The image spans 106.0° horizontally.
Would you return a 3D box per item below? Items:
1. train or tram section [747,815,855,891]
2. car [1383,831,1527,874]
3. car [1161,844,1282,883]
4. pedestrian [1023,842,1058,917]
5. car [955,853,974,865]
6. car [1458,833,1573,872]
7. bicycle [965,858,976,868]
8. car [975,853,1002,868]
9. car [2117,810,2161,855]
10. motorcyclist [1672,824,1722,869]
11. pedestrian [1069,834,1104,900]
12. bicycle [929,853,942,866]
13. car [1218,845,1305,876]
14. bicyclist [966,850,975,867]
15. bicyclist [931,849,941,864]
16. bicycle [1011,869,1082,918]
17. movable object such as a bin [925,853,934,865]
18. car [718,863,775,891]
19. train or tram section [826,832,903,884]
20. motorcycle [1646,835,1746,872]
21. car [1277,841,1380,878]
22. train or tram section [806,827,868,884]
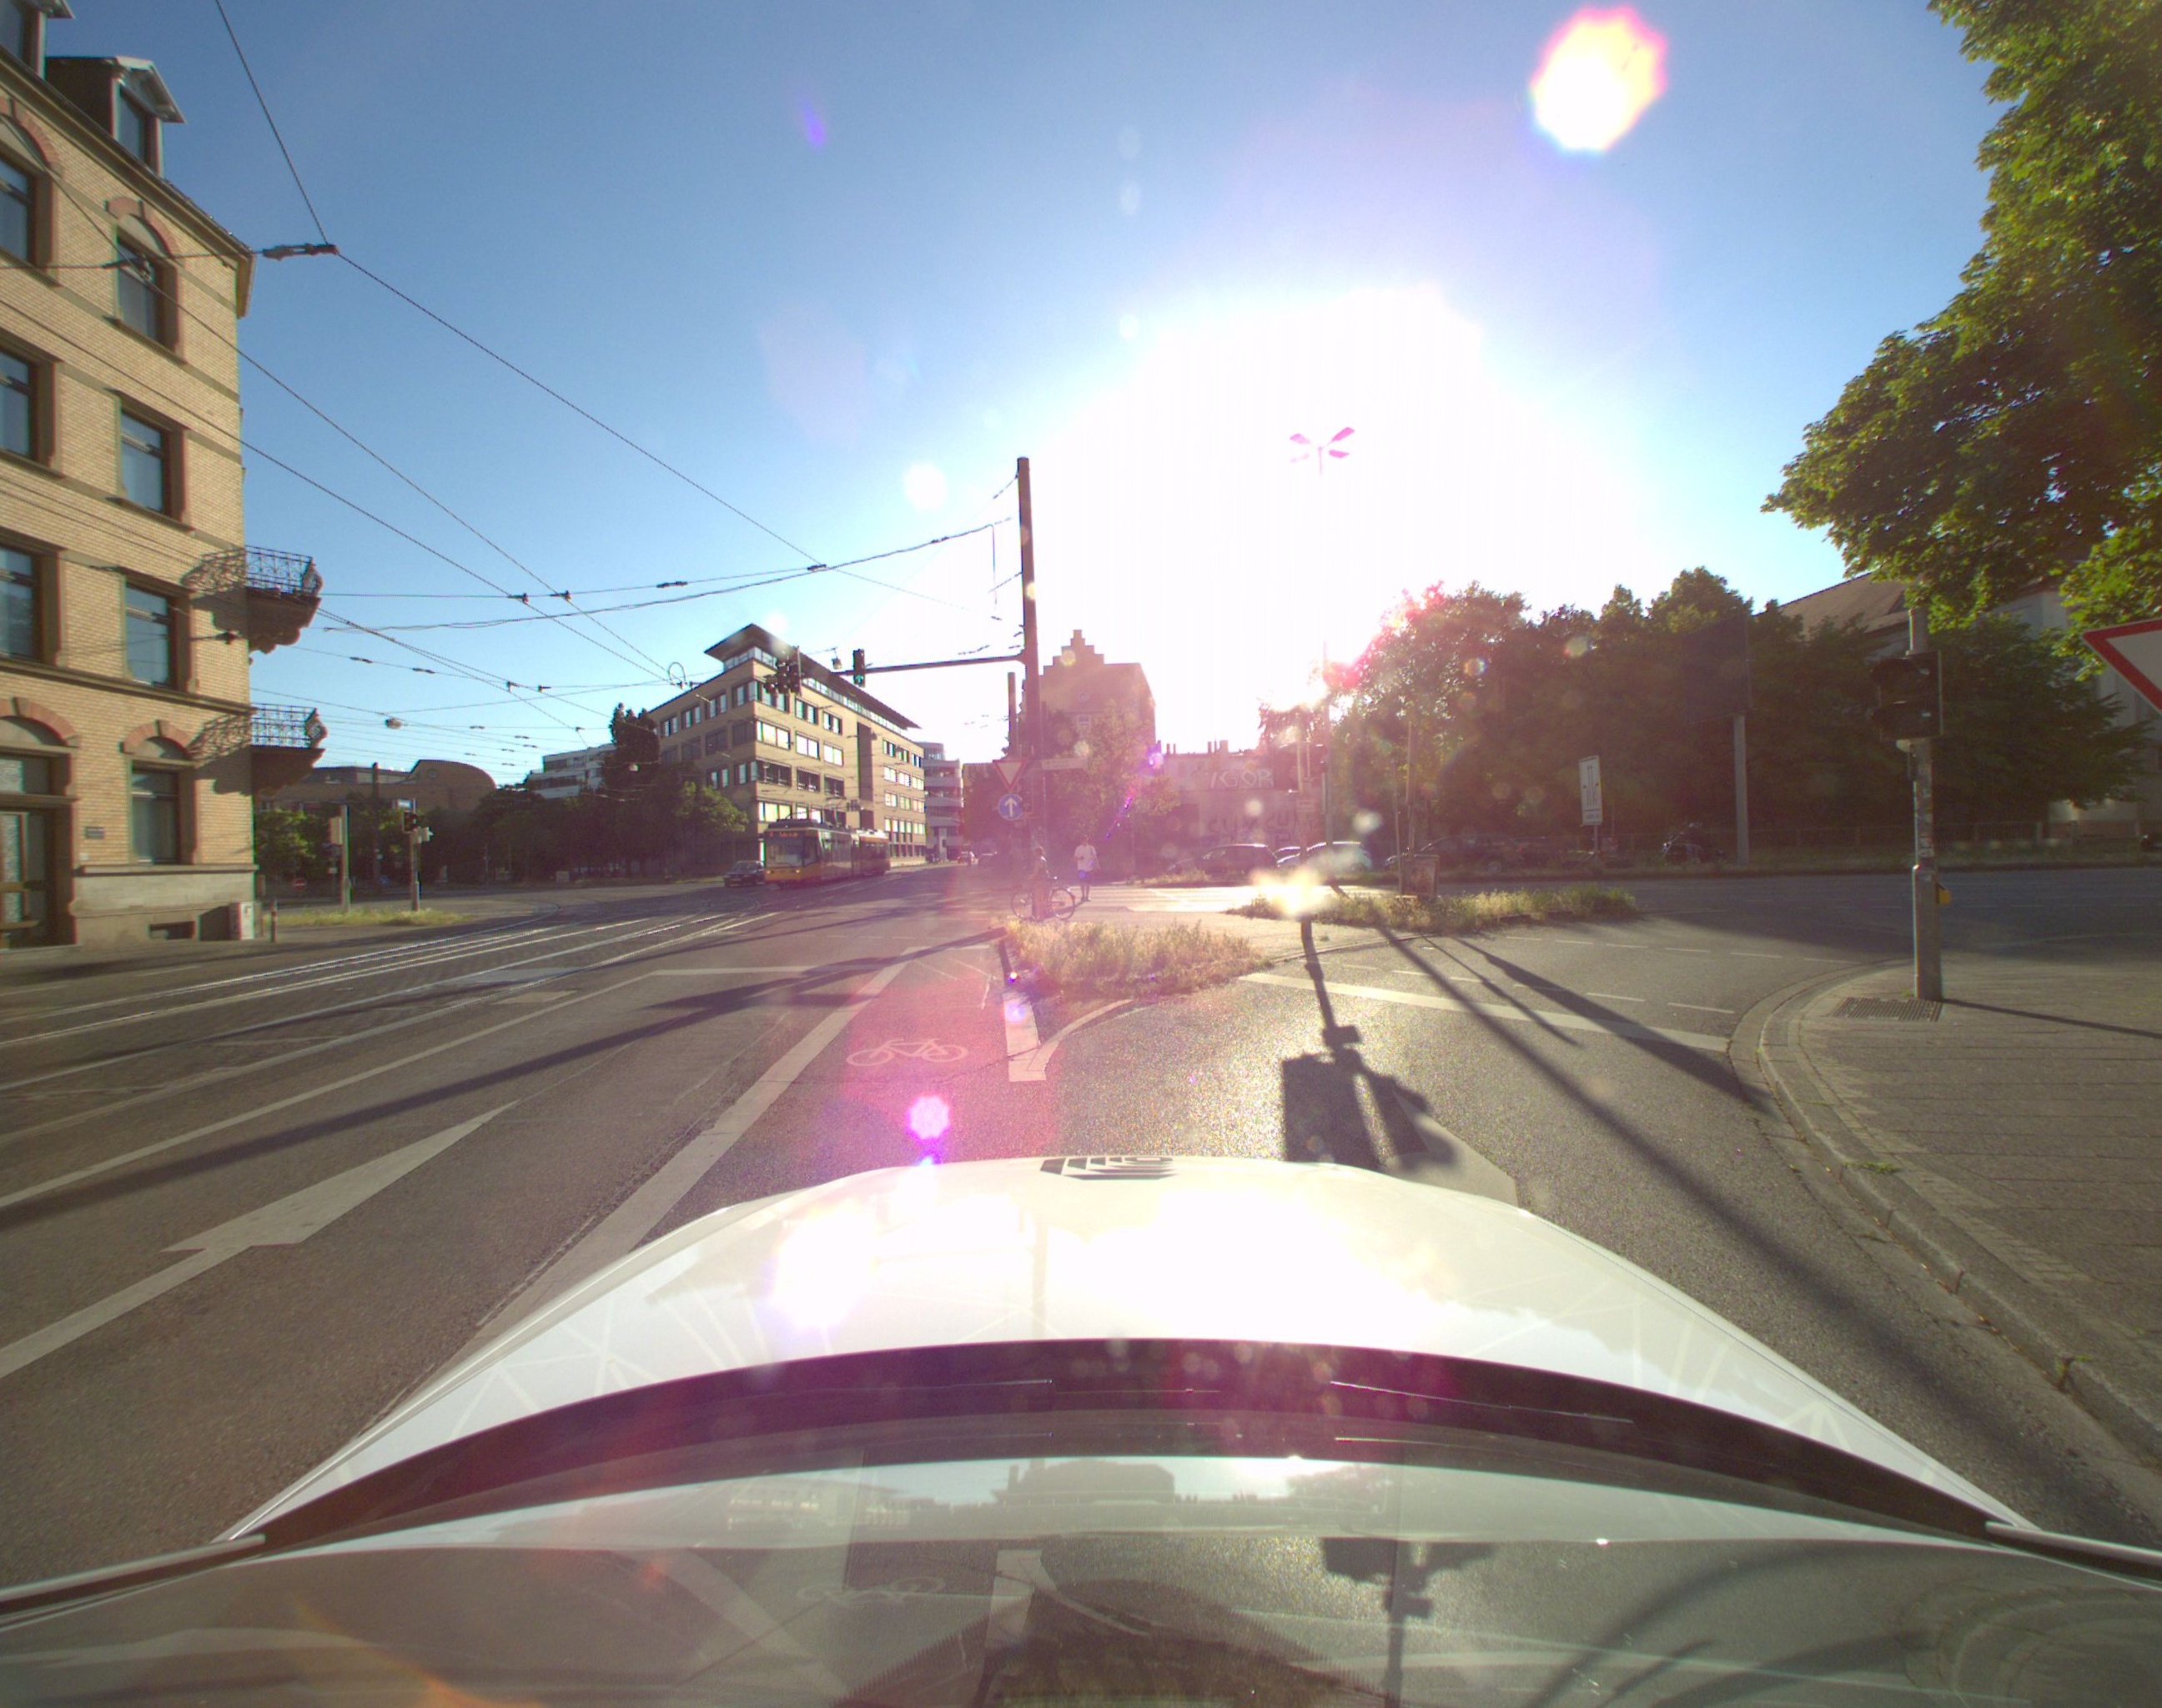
[{"bbox_3d":[-15.020,-0.058,45.020,2.858,3.507,12.983,-2,0,-7],"label":"train or tram section"},{"bbox_3d":[12.788,-0.048,28.131,4.328,1.296,1.732,-2,0,17],"label":"car"},{"bbox_3d":[5.297,0.349,30.690,4.200,1.296,1.733,-2,0,19],"label":"car"},{"bbox_3d":[-0.899,0.555,17.953,0.518,1.631,0.492,-2,0,36],"label":"pedestrian"},{"bbox_3d":[-16.895,0.648,118.583,1.808,1.614,4.469,-2,0,3],"label":"car"},{"bbox_3d":[18.536,-0.080,34.922,3.961,1.464,1.865,-2,1,10],"label":"car"},{"bbox_3d":[-9.964,0.813,73.640,0.692,0.877,2.026,-2,0,0],"label":"bicycle"},{"bbox_3d":[-9.179,0.613,81.276,1.776,1.388,4.006,-2,0,6],"label":"car"},{"bbox_3d":[38.555,-0.825,26.949,5.240,1.496,2.006,-2,0,11],"label":"car"},{"bbox_3d":[20.051,-0.236,26.527,1.049,1.398,0.858,-2,0,17],"label":"motorcyclist"},{"bbox_3d":[0.162,0.358,22.856,0.905,1.789,0.828,-2,0,1],"label":"pedestrian"},{"bbox_3d":[-20.055,0.747,112.630,1.025,1.651,2.564,-2,0,6],"label":"bicycle"},{"bbox_3d":[8.453,0.297,38.026,3.853,1.296,1.731,-2,0,15],"label":"car"},{"bbox_3d":[-9.977,0.387,73.668,0.671,1.522,0.813,-2,0,0],"label":"bicyclist"},{"bbox_3d":[-20.045,0.398,112.497,1.025,2.014,1.249,0,-1,5],"label":"bicyclist"},{"bbox_3d":[-0.771,0.859,18.014,1.650,1.029,0.402,-2,0,36],"label":"bicycle"},{"bbox_3d":[-21.647,0.665,116.173,1.062,1.628,0.889,-2,0,2],"label":"movable object such as a bin"},{"bbox_3d":[-18.564,1.225,45.385,1.807,1.380,4.154,-2,0,-6],"label":"car"},{"bbox_3d":[-16.335,0.228,62.440,2.852,3.507,11.293,-2,0,-1],"label":"train or tram section"},{"bbox_3d":[20.008,-0.008,26.559,2.442,1.107,0.865,-2,0,17],"label":"motorcycle"},{"bbox_3d":[9.992,0.206,33.035,3.853,1.319,1.731,-2,0,15],"label":"car"},{"bbox_3d":[-16.105,0.093,54.147,2.857,3.507,5.292,-2,0,-6],"label":"train or tram section"}]
